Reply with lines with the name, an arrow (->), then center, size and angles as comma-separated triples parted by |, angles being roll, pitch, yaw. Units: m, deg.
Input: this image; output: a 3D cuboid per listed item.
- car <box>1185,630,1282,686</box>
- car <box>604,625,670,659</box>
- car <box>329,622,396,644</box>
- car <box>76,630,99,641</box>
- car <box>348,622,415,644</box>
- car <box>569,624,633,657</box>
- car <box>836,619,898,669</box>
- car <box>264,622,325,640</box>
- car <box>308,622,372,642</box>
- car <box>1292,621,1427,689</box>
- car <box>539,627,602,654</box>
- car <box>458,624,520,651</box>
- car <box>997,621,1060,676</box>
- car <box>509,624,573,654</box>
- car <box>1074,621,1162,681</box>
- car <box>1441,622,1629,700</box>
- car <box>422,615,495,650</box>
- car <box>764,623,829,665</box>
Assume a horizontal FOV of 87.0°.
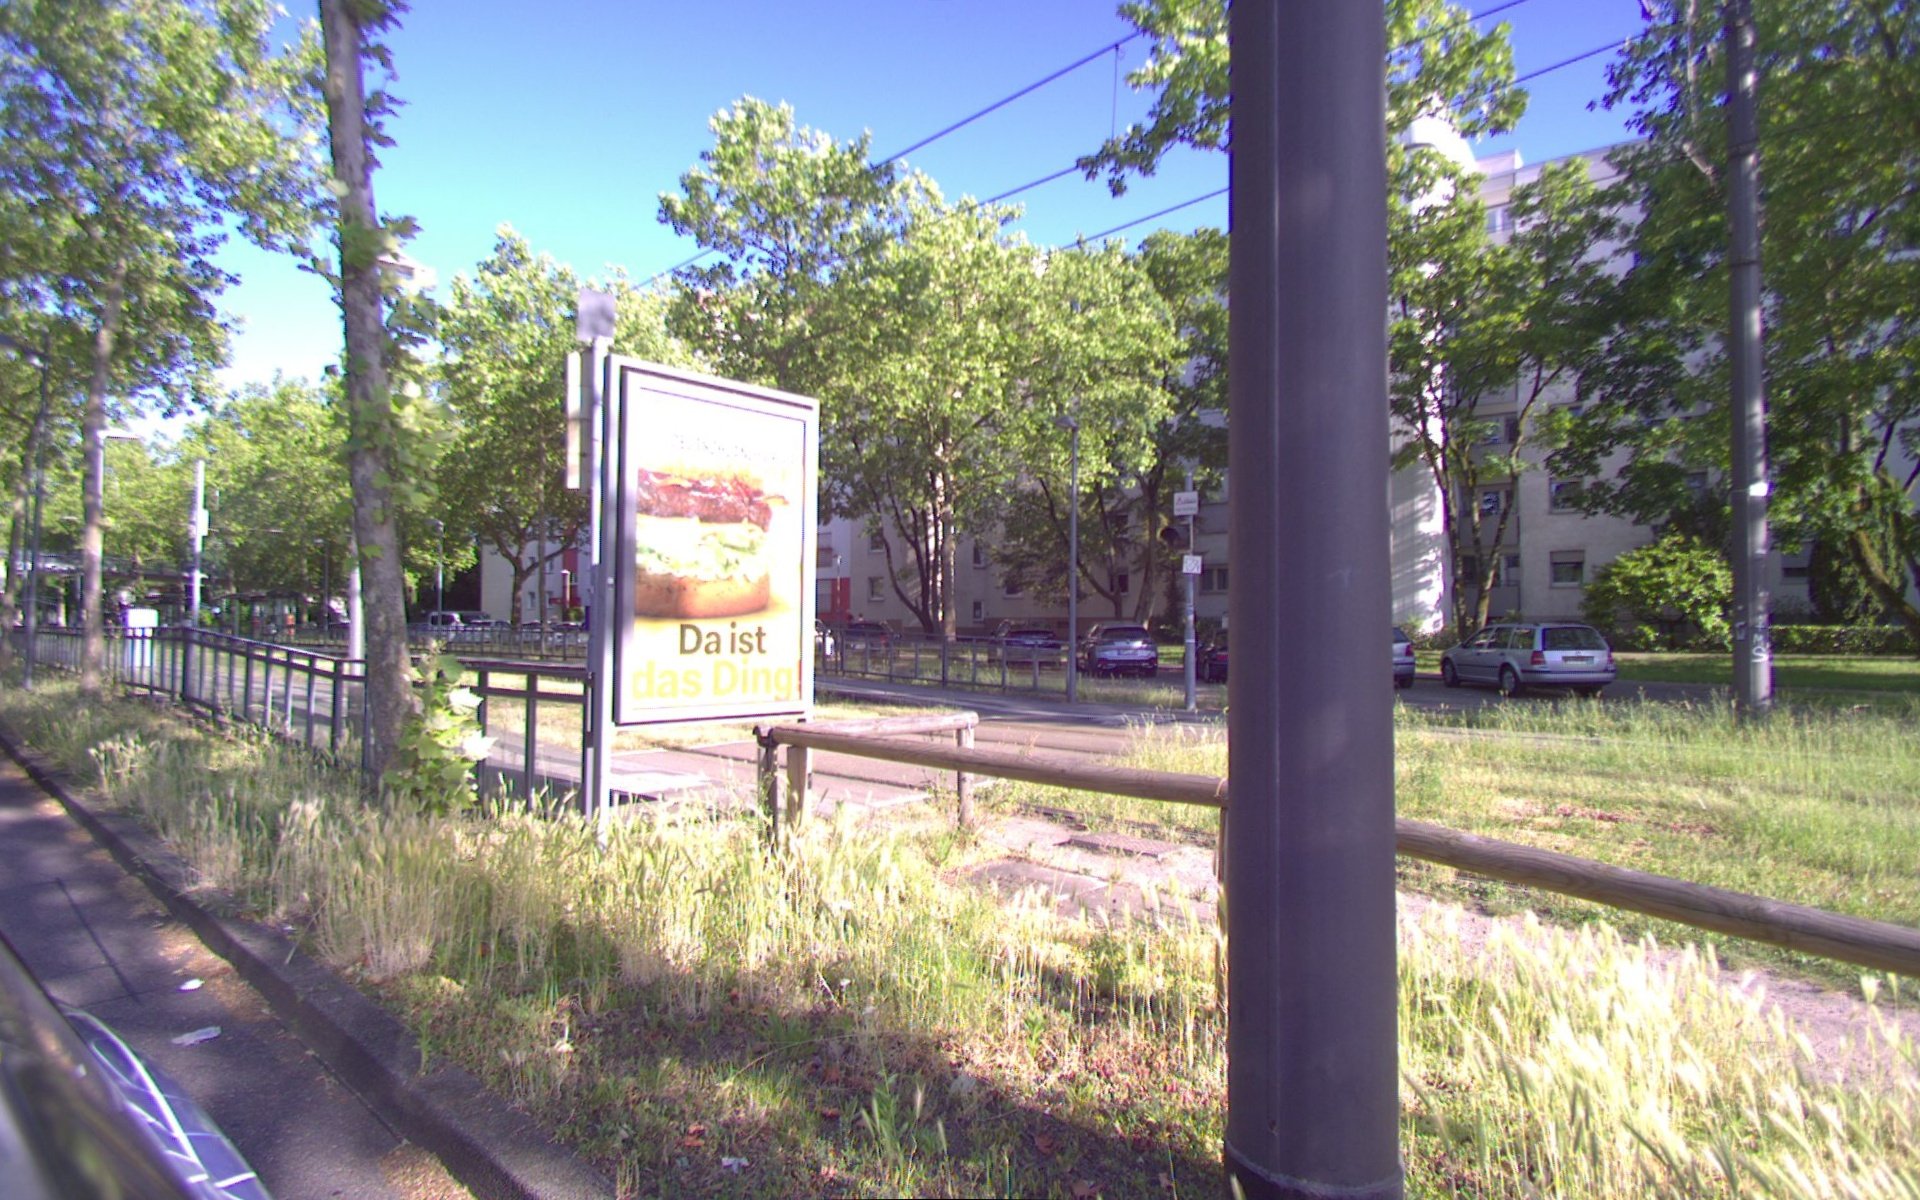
car -> 6.729, 1.397, 25.207 | 1.602, 1.256, 3.677 | 0, -1, 4
car -> -14.083, 1.815, 44.281 | 1.627, 1.403, 3.679 | 0, -1, 2
car -> -40.281, 2.199, 68.394 | 1.898, 1.386, 4.365 | 0, -1, 1
car -> -108.916, 4.444, 126.314 | 3.294, 1.370, 1.651 | -1, -2, 41
car -> -37.975, 2.119, 66.551 | 1.898, 1.386, 4.365 | 0, -1, 1
car -> -16.682, 1.838, 47.137 | 1.627, 1.460, 3.680 | 0, -1, 1
car -> -3.107, 1.455, 34.468 | 1.664, 1.579, 3.679 | 0, -1, 2
car -> -52.144, 2.399, 79.367 | 1.898, 1.386, 4.365 | 0, -1, 1
car -> -44.643, 2.276, 72.986 | 1.898, 1.386, 4.365 | 0, -1, 1
car -> 9.153, 1.216, 23.527 | 1.679, 1.444, 3.681 | 0, -1, 1
car -> -19.045, 1.976, 49.667 | 1.627, 1.251, 3.680 | 0, -1, 1
car -> -25.797, 2.030, 55.520 | 1.627, 1.407, 3.680 | 0, -1, 1
car -> 1.933, 1.364, 29.446 | 1.664, 1.482, 3.680 | 0, -1, 1
car -> -21.123, 1.955, 51.135 | 1.627, 1.460, 3.680 | 0, -1, 1
car -> 4.206, 1.343, 27.493 | 1.894, 1.507, 3.680 | 0, -1, 2
car -> 11.547, 1.173, 20.628 | 1.707, 1.444, 3.681 | 0, -1, 1
car -> -28.326, 1.821, 57.329 | 1.898, 1.898, 4.365 | 0, -1, 1
car -> -5.909, 1.568, 36.918 | 1.664, 1.444, 3.679 | 0, -1, 2
